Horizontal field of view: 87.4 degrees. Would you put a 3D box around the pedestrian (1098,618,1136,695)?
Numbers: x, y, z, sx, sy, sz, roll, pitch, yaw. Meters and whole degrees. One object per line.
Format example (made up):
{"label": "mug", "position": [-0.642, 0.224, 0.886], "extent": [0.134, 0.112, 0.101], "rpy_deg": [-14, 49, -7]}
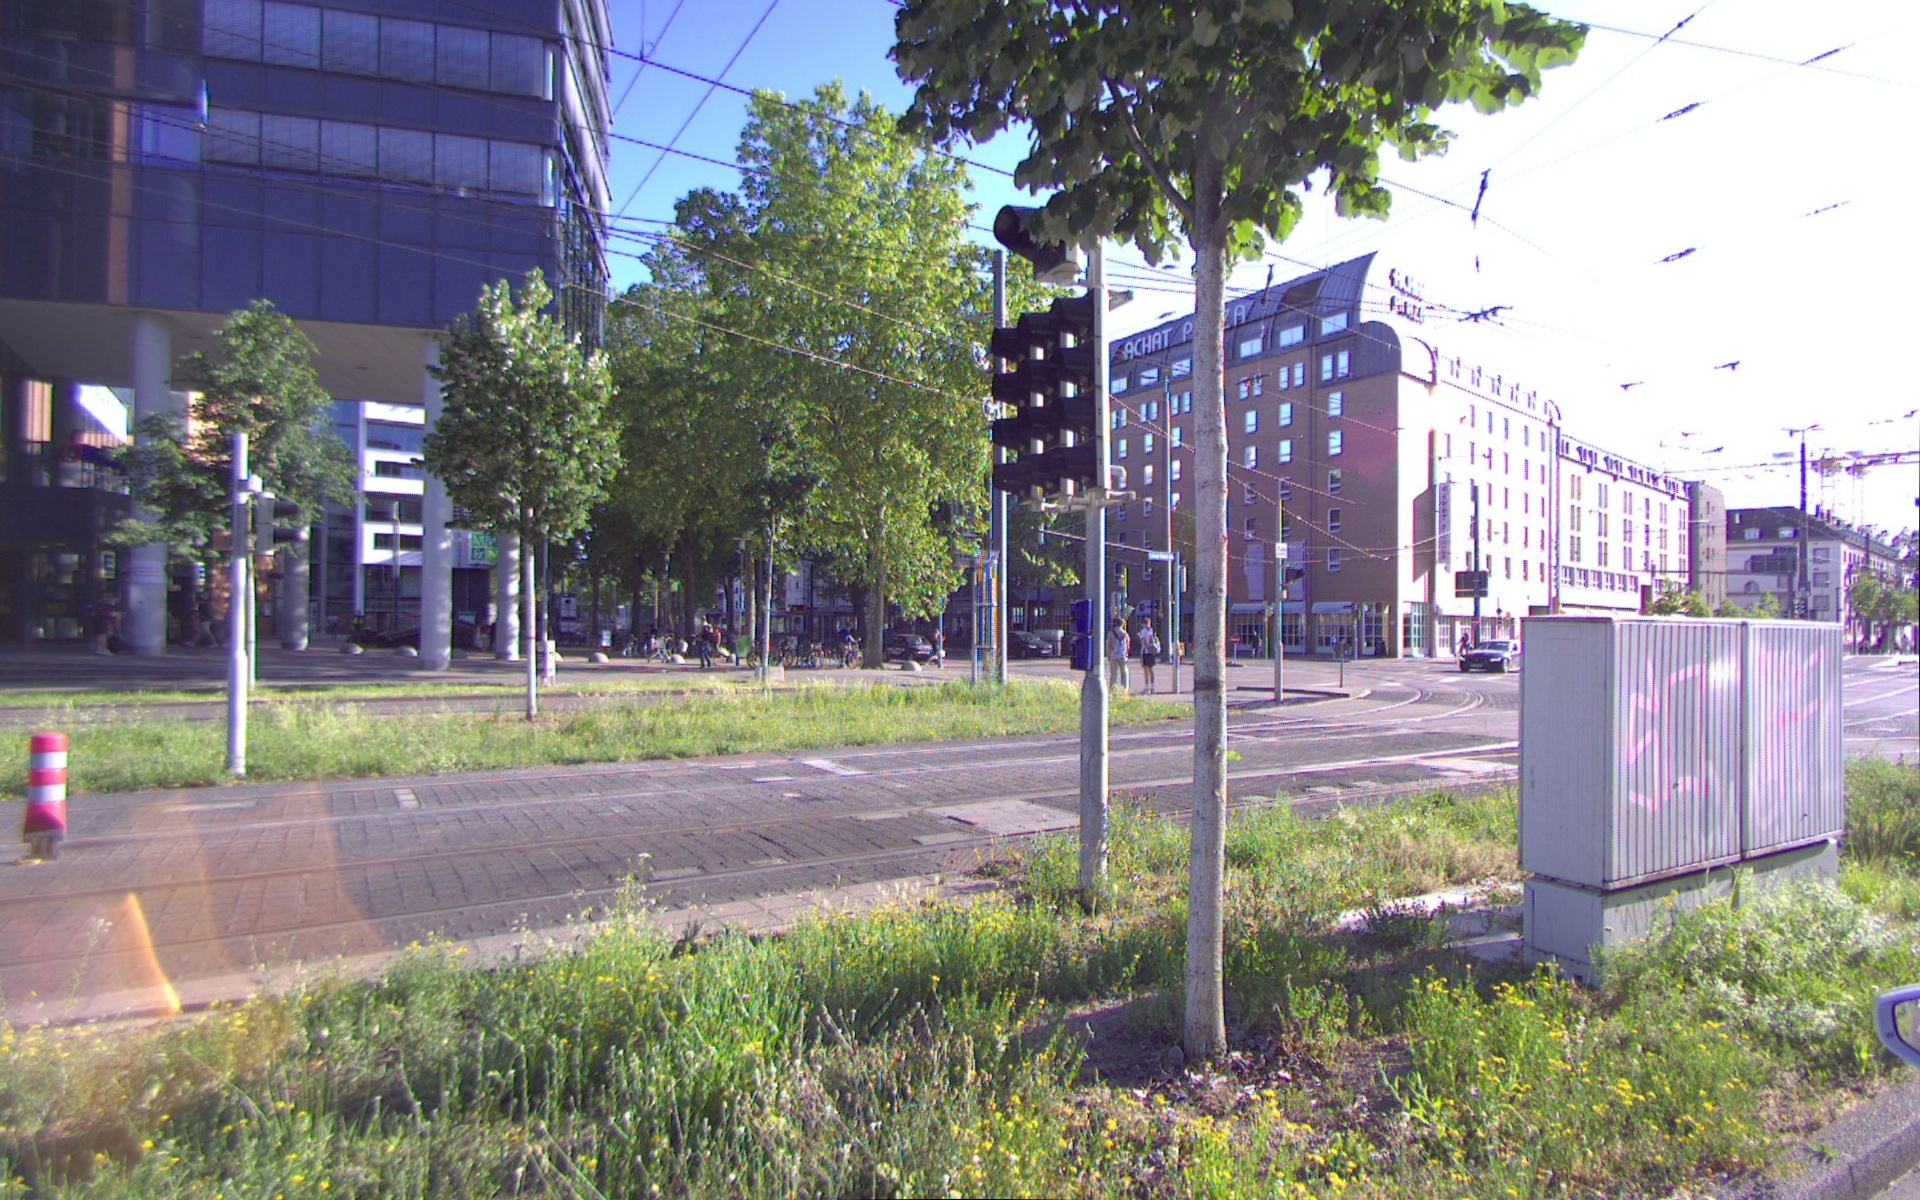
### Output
{"label": "pedestrian", "position": [3.843, 1.368, 24.543], "extent": [0.656, 1.854, 0.627], "rpy_deg": [1, -1, -36]}

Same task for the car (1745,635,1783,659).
{"label": "car", "position": [53.359, 3.089, 66.622], "extent": [1.726, 1.524, 3.858], "rpy_deg": [-1, -2, 43]}

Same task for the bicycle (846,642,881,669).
{"label": "bicycle", "position": [-3.698, 2.123, 38.352], "extent": [0.536, 0.964, 1.753], "rpy_deg": [2, -2, -36]}

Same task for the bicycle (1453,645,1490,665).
{"label": "bicycle", "position": [28.355, 3.033, 55.652], "extent": [2.900, 1.099, 0.645], "rpy_deg": [2, -2, -38]}

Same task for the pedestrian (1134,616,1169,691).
{"label": "pedestrian", "position": [4.784, 1.323, 25.110], "extent": [0.656, 1.841, 0.559], "rpy_deg": [1, -1, -36]}

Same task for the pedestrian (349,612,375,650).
{"label": "pedestrian", "position": [-27.891, 1.437, 46.883], "extent": [0.794, 1.730, 0.789], "rpy_deg": [1, 0, -13]}

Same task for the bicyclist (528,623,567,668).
{"label": "bicyclist", "position": [-14.099, 1.549, 34.368], "extent": [0.996, 1.484, 0.680], "rpy_deg": [0, -1, 12]}

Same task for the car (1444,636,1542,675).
{"label": "car", "position": [23.601, 2.432, 44.419], "extent": [4.693, 1.617, 1.980], "rpy_deg": [2, -2, -36]}

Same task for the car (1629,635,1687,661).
{"label": "car", "position": [41.278, 2.849, 59.400], "extent": [3.960, 1.468, 1.563], "rpy_deg": [2, -2, -35]}

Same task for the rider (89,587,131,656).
{"label": "rider", "position": [-23.110, 0.585, 27.330], "extent": [0.704, 1.826, 0.715], "rpy_deg": [1, -1, -29]}

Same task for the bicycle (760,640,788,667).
{"label": "bicycle", "position": [-7.095, 2.046, 38.408], "extent": [0.530, 0.964, 1.772], "rpy_deg": [1, -1, 7]}

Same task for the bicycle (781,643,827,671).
{"label": "bicycle", "position": [-5.743, 2.092, 36.963], "extent": [1.742, 0.964, 0.540], "rpy_deg": [0, -1, 34]}

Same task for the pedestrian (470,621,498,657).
{"label": "pedestrian", "position": [-23.846, 1.960, 50.354], "extent": [1.091, 1.730, 0.789], "rpy_deg": [1, 0, -13]}

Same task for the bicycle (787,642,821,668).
{"label": "bicycle", "position": [-5.989, 2.097, 38.577], "extent": [0.536, 0.964, 1.753], "rpy_deg": [2, -2, -36]}

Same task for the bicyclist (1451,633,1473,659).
{"label": "bicyclist", "position": [27.730, 2.520, 55.448], "extent": [0.942, 1.393, 0.752], "rpy_deg": [2, -1, -37]}

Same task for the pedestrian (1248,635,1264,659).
{"label": "pedestrian", "position": [18.716, 2.950, 63.527], "extent": [0.652, 1.523, 0.672], "rpy_deg": [1, -1, -33]}

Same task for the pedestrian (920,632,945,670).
{"label": "pedestrian", "position": [-1.203, 2.263, 44.539], "extent": [0.832, 1.619, 0.692], "rpy_deg": [1, 0, -33]}

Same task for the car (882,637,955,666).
{"label": "car", "position": [-2.096, 2.504, 49.259], "extent": [1.977, 1.283, 3.968], "rpy_deg": [1, -2, -30]}

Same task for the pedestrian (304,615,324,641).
{"label": "pedestrian", "position": [-38.072, 1.635, 59.181], "extent": [0.647, 1.500, 1.053], "rpy_deg": [1, 0, -13]}

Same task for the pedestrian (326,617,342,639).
{"label": "pedestrian", "position": [-37.635, 1.709, 60.381], "extent": [0.651, 1.294, 0.636], "rpy_deg": [1, 0, -13]}

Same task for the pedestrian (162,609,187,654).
{"label": "pedestrian", "position": [-26.303, 1.048, 33.639], "extent": [0.566, 1.500, 0.450], "rpy_deg": [1, 0, -30]}

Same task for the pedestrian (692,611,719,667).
{"label": "pedestrian", "position": [-9.557, 1.457, 37.706], "extent": [0.826, 2.040, 0.730], "rpy_deg": [1, 0, -25]}

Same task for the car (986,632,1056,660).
{"label": "car", "position": [3.323, 2.509, 55.153], "extent": [1.743, 1.439, 3.960], "rpy_deg": [2, -2, -35]}

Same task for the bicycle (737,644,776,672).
{"label": "bicycle", "position": [-7.489, 2.123, 36.977], "extent": [0.538, 0.964, 1.748], "rpy_deg": [2, -2, -44]}

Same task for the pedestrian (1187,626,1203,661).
{"label": "pedestrian", "position": [14.167, 2.616, 60.531], "extent": [0.669, 2.040, 0.663], "rpy_deg": [1, -1, -29]}

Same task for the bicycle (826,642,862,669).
{"label": "bicycle", "position": [-4.417, 2.082, 38.120], "extent": [0.536, 0.964, 1.753], "rpy_deg": [2, -2, -36]}

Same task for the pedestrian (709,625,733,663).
{"label": "pedestrian", "position": [-10.197, 1.880, 42.906], "extent": [0.826, 1.619, 0.730], "rpy_deg": [1, 0, -25]}

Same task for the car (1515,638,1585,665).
{"label": "car", "position": [32.061, 2.801, 54.558], "extent": [4.104, 1.440, 1.711], "rpy_deg": [2, -4, -36]}

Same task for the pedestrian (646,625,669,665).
{"label": "pedestrian", "position": [-12.824, 1.886, 42.524], "extent": [0.826, 1.667, 0.730], "rpy_deg": [1, -1, -25]}

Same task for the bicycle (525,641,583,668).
{"label": "bicycle", "position": [-13.871, 1.859, 34.318], "extent": [1.850, 0.922, 0.500], "rpy_deg": [0, -1, 12]}
